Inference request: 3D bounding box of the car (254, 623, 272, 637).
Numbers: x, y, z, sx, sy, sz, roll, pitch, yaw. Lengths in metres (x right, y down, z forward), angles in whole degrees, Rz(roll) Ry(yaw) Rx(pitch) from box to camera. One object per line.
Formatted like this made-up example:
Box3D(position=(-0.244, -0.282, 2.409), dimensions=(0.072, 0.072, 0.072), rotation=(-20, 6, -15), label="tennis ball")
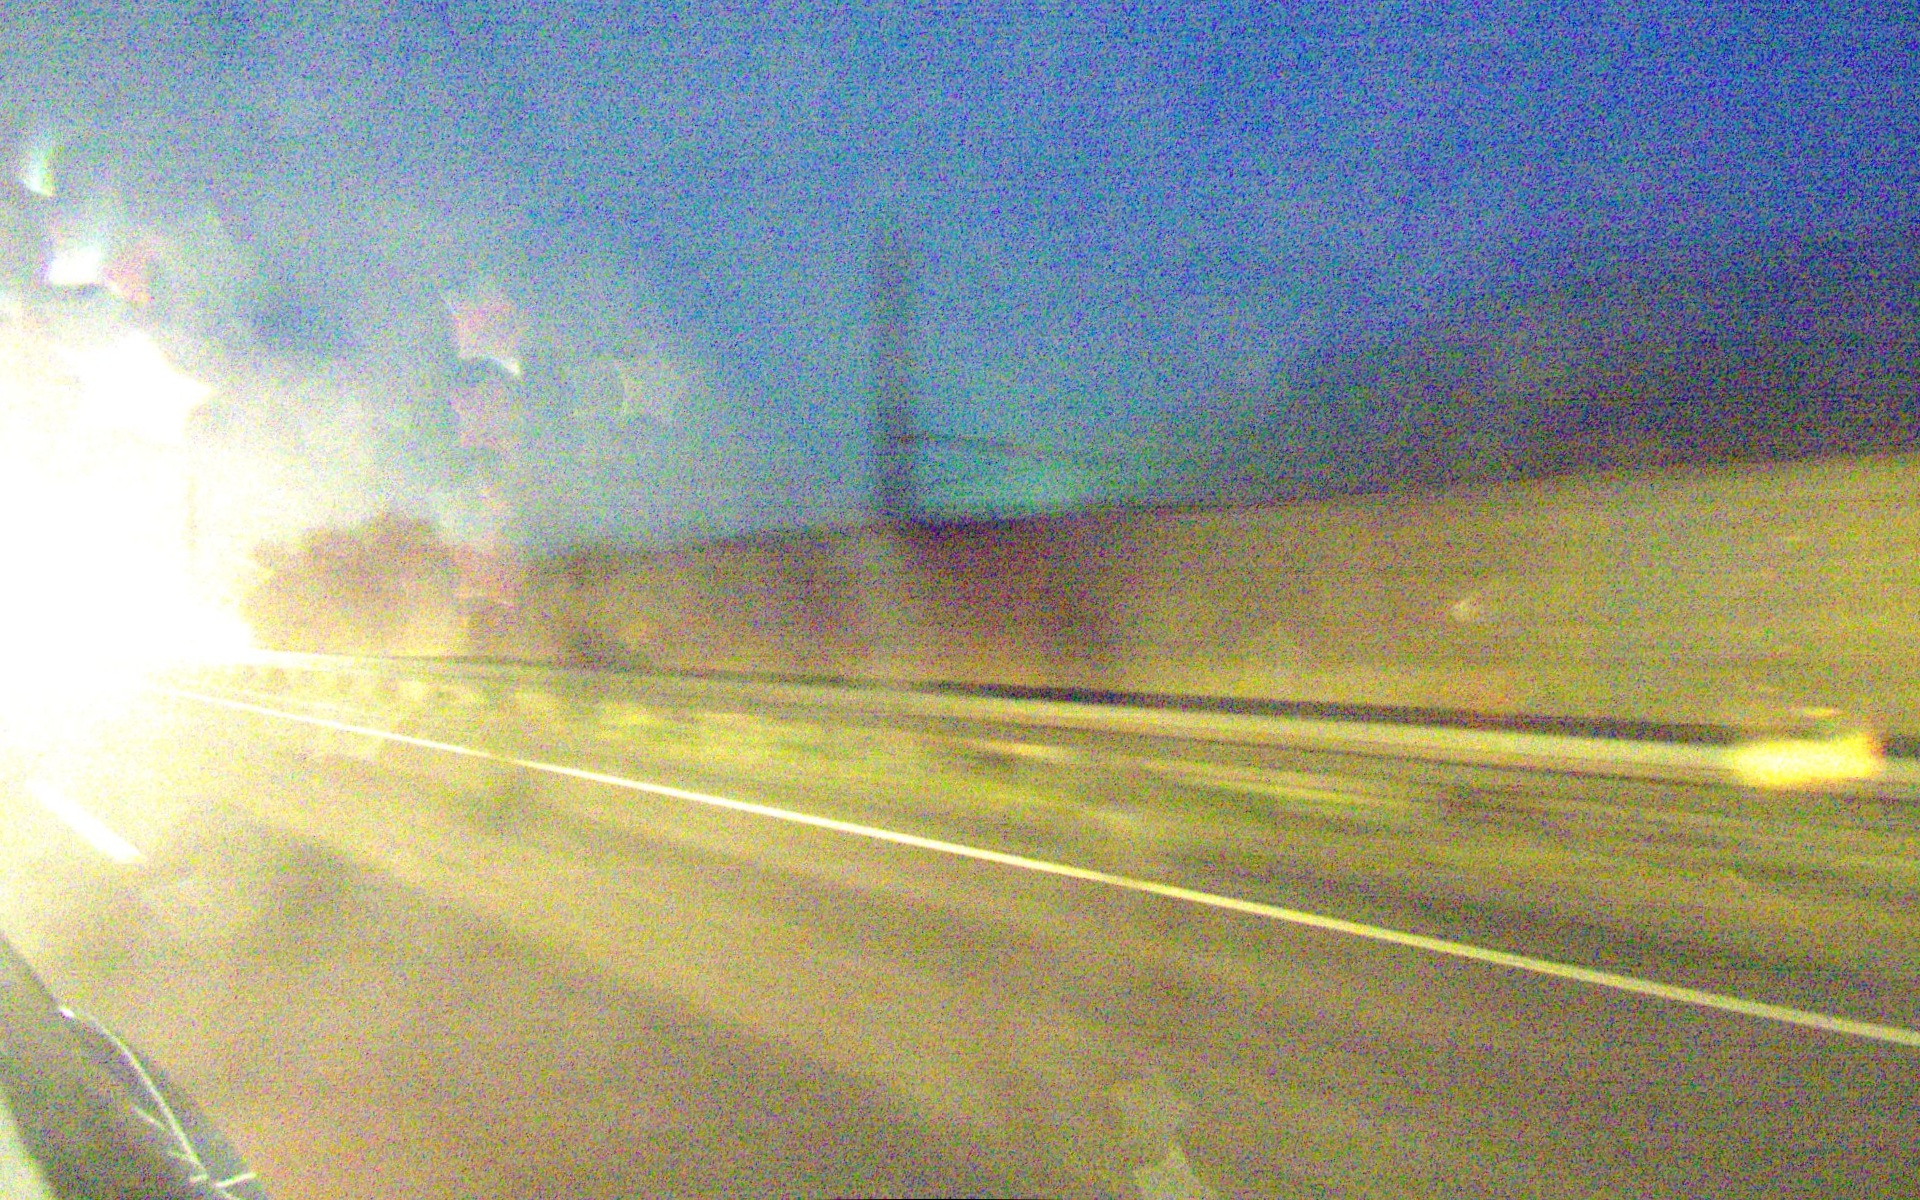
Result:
Box3D(position=(-122.950, 5.309, 178.425), dimensions=(1.969, 2.325, 6.030), rotation=(-1, -1, -41), label="car")
